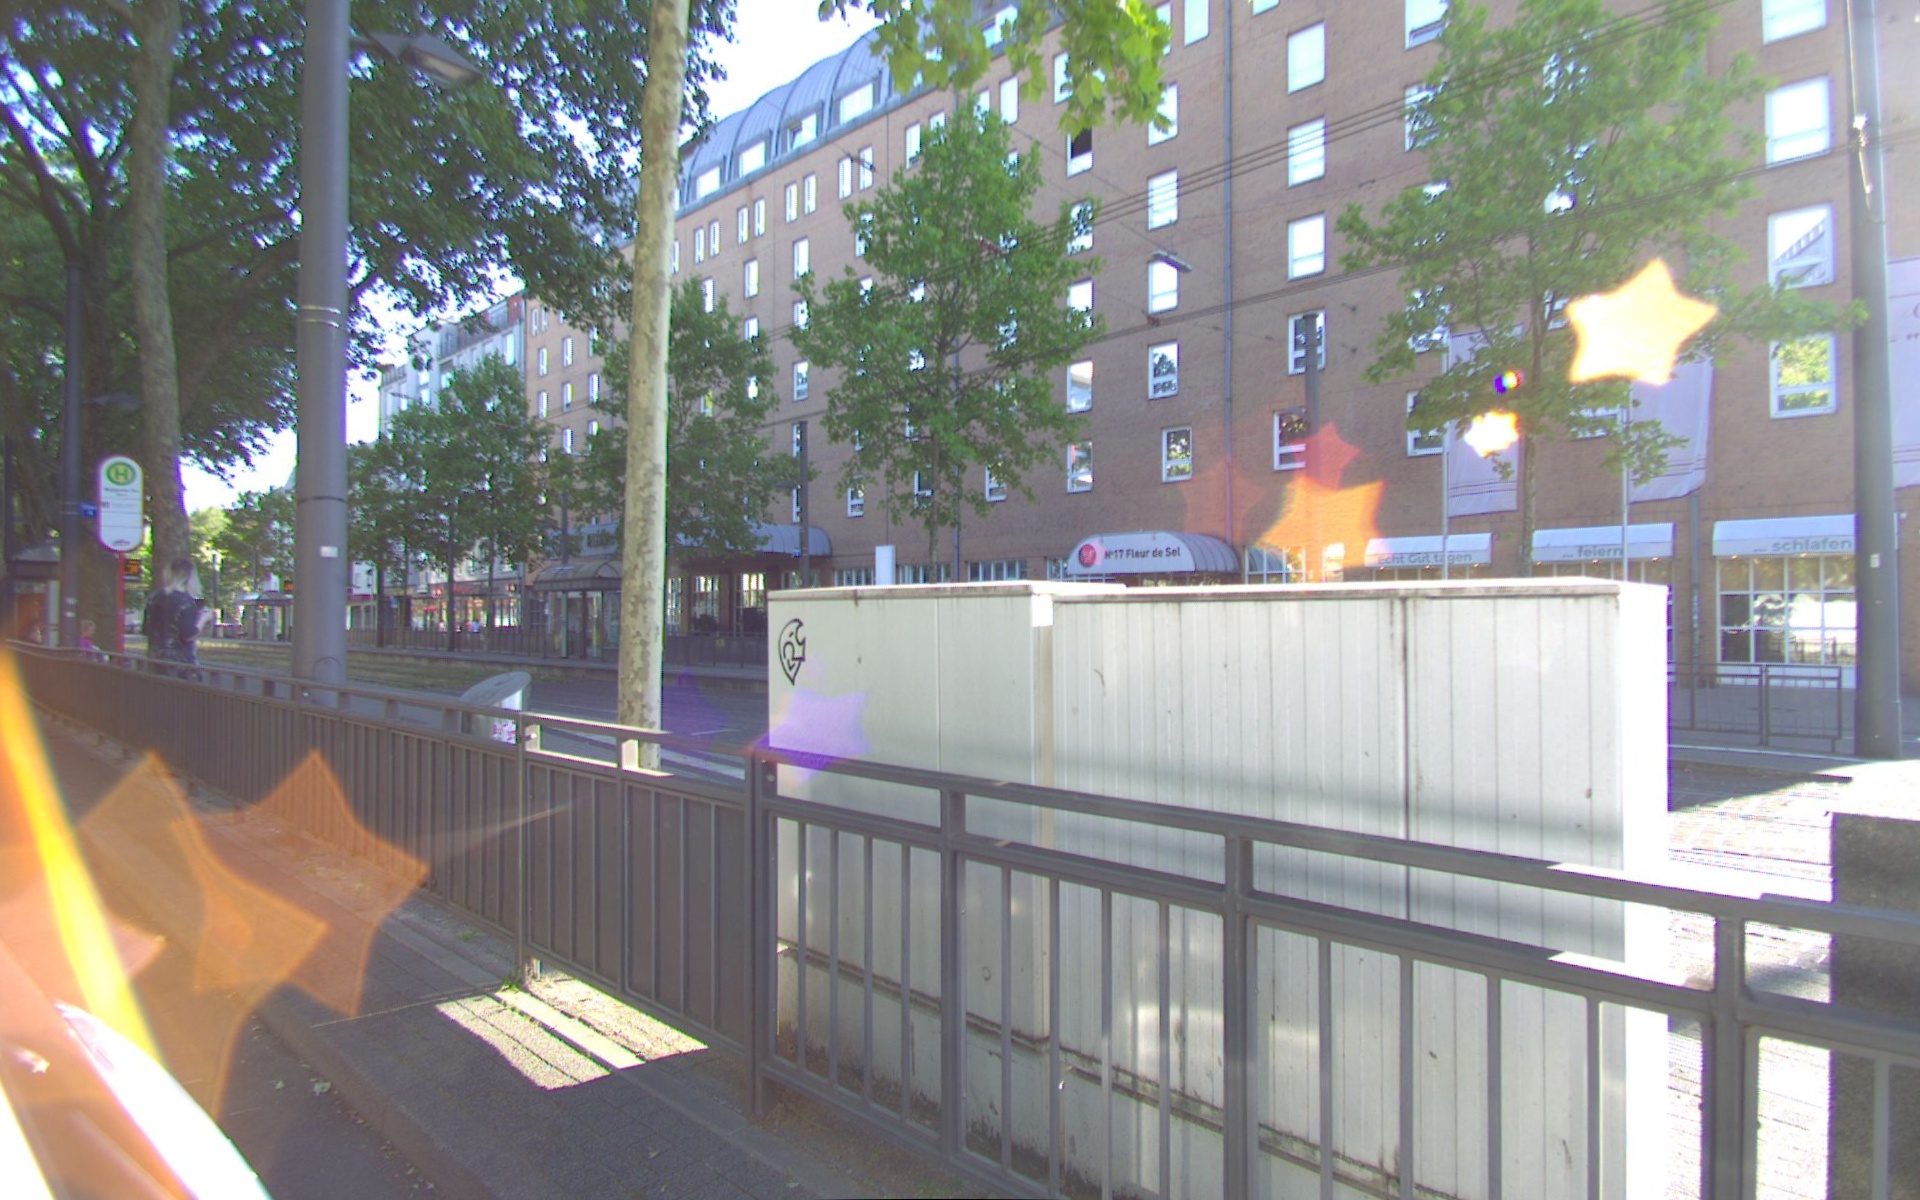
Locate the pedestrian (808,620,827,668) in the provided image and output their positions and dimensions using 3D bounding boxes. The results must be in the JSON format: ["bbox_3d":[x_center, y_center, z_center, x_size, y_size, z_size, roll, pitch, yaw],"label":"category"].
[{"bbox_3d":[-5.198,1.603,36.916,0.472,1.748,0.545,1,-2,-42],"label":"pedestrian"}]

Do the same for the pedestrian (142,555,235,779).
[{"bbox_3d":[-6.636,0.551,8.702,0.524,1.848,0.536,-1,0,43],"label":"pedestrian"}]

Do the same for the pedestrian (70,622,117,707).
[{"bbox_3d":[-13.989,1.021,16.350,0.534,1.327,0.525,-1,0,-37],"label":"pedestrian"}]

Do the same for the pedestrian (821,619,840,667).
[{"bbox_3d":[-4.777,1.590,37.311,0.437,1.748,0.545,1,-2,-42],"label":"pedestrian"}]

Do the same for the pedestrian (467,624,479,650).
[{"bbox_3d":[-32.136,2.435,66.792,0.574,1.748,0.497,-2,-2,43],"label":"pedestrian"}]
